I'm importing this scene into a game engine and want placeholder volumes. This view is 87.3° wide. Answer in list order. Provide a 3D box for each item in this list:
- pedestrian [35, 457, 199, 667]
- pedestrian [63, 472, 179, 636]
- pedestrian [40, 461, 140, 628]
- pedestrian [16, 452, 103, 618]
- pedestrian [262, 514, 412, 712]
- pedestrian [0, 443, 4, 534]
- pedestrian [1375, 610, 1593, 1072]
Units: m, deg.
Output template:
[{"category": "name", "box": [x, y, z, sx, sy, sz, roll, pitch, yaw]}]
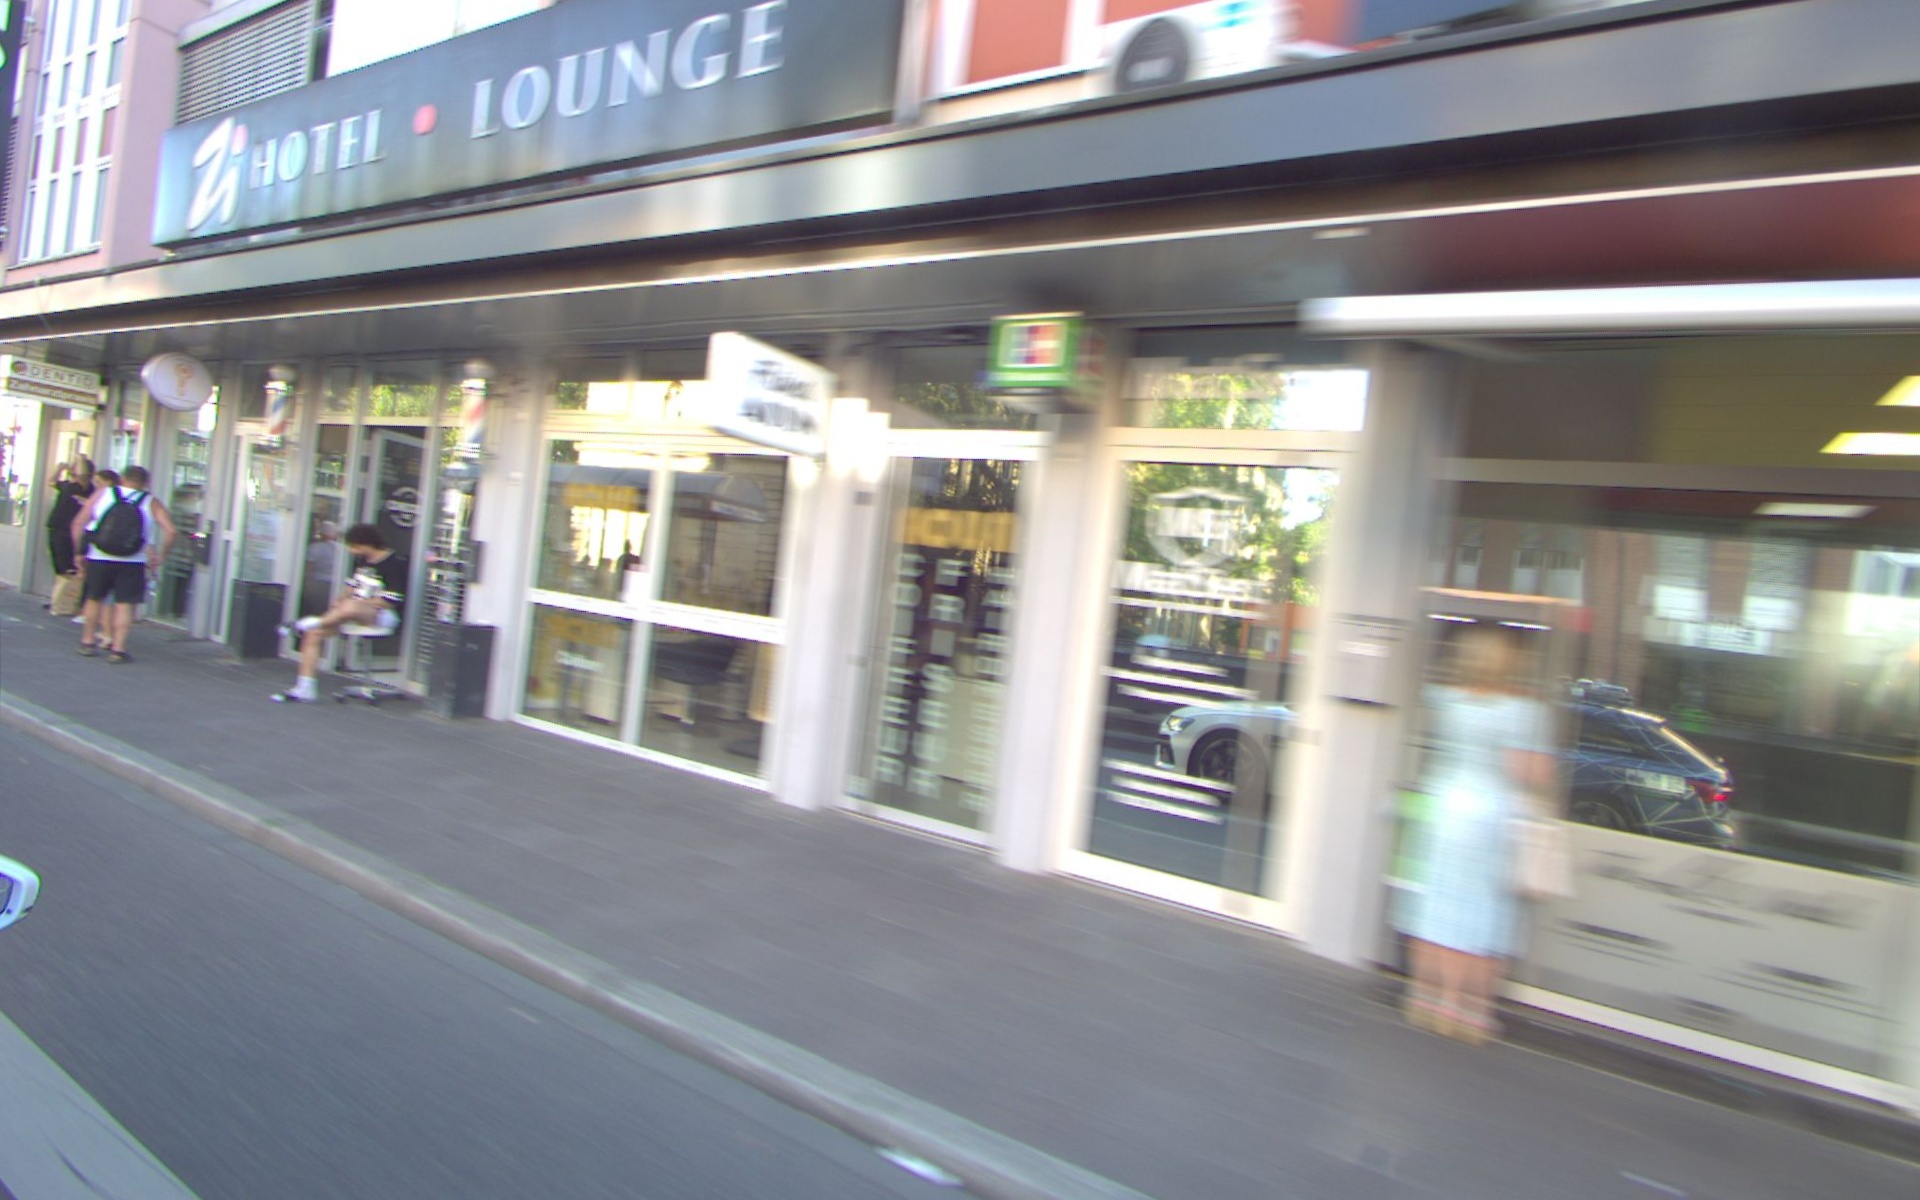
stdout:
[{"category": "pedestrian", "box": [-7.583, -0.334, 9.063, 0.801, 1.747, 0.745, 7, -1, 32]}, {"category": "pedestrian", "box": [-8.146, -0.431, 9.771, 0.643, 1.503, 0.636, 7, 3, 31]}, {"category": "pedestrian", "box": [-9.800, -0.610, 11.342, 0.492, 1.792, 0.629, 7, 2, 32]}, {"category": "pedestrian", "box": [-10.740, -0.775, 11.997, 0.798, 1.873, 0.451, 7, 2, 31]}, {"category": "pedestrian", "box": [-5.082, 0.097, 8.214, 0.695, 1.492, 0.738, 7, 3, 32]}, {"category": "pedestrian", "box": [-10.720, -0.789, 10.608, 0.751, 1.844, 0.706, 7, 3, 32]}, {"category": "pedestrian", "box": [2.080, 0.885, 3.992, 0.544, 1.610, 0.601, 7, 1, 31]}]
